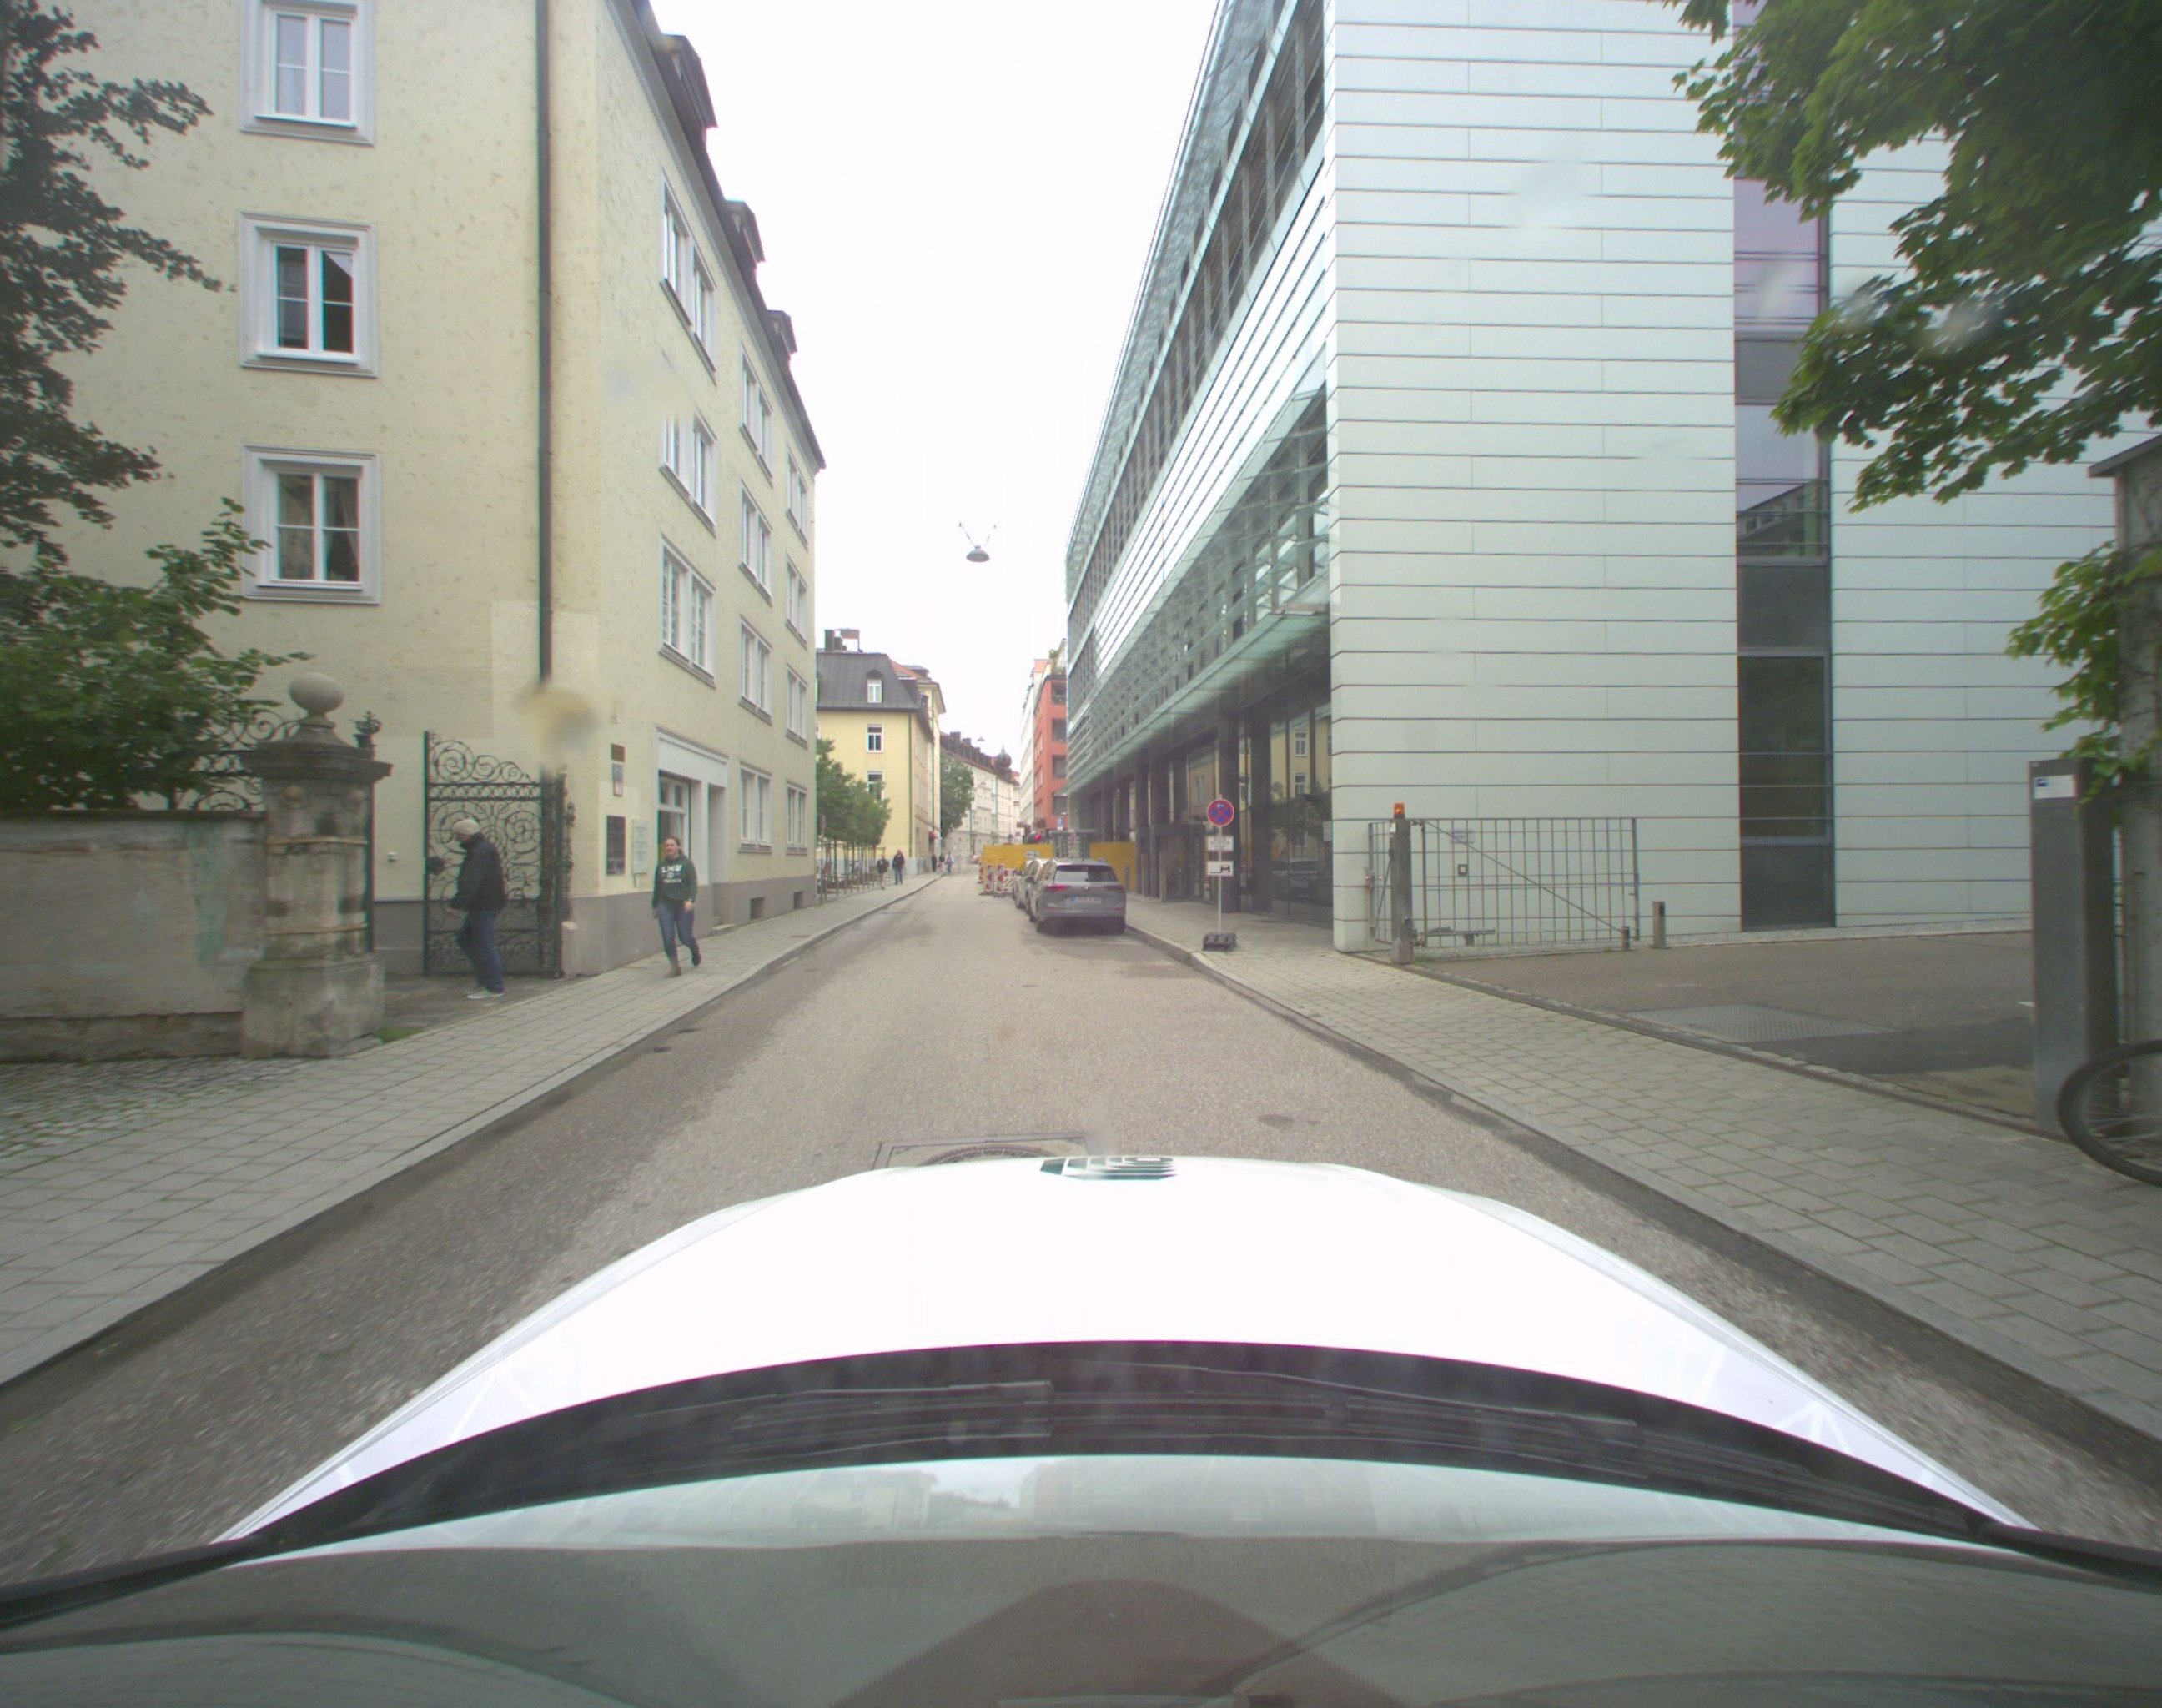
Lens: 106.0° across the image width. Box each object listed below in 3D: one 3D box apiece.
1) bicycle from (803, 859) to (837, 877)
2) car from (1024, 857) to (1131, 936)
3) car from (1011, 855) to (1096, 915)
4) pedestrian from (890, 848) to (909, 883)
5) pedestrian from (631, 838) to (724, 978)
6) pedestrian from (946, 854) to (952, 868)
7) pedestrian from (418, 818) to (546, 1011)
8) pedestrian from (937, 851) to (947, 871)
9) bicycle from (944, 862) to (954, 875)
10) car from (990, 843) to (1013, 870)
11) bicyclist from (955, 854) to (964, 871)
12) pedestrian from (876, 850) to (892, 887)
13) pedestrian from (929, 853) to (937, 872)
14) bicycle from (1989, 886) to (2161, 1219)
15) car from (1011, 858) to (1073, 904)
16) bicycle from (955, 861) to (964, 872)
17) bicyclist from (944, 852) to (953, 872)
[{"bbox_3d":[-17.459,0.923,54.503,2.037,1.198,0.570,0,0,-1],"label":"bicycle"},{"bbox_3d":[-0.206,0.785,17.170,1.707,1.432,4.317,0,0,-8],"label":"car"},{"bbox_3d":[-0.845,0.791,22.413,1.708,1.467,4.221,1,-1,-11],"label":"car"},{"bbox_3d":[-9.669,0.608,43.353,0.867,1.881,1.131,0,-1,-8],"label":"pedestrian"},{"bbox_3d":[-5.055,0.657,10.261,0.712,1.666,0.927,2,-1,-8],"label":"pedestrian"},{"bbox_3d":[-15.136,0.798,93.520,0.634,1.675,0.516,0,0,-8],"label":"pedestrian"},{"bbox_3d":[-6.089,0.574,8.349,0.959,1.827,0.899,0,-1,-31],"label":"pedestrian"},{"bbox_3d":[-12.023,0.632,70.503,0.839,1.700,0.801,0,-1,-8],"label":"pedestrian"},{"bbox_3d":[-10.527,1.142,64.917,0.661,1.039,1.999,-1,0,-8],"label":"bicycle"},{"bbox_3d":[-7.774,0.239,79.140,1.992,2.537,4.961,0,0,-8],"label":"car"},{"bbox_3d":[-10.340,0.716,69.330,0.707,1.371,0.811,-1,0,-8],"label":"bicyclist"},{"bbox_3d":[-9.011,0.661,37.248,0.647,1.676,0.721,0,-1,-9],"label":"pedestrian"},{"bbox_3d":[-12.851,0.725,70.827,0.670,1.648,0.759,0,-1,-8],"label":"pedestrian"},{"bbox_3d":[4.450,0.787,2.704,0.707,1.198,1.830,-1,3,-6],"label":"bicycle"},{"bbox_3d":[-1.392,0.866,27.532,1.706,1.414,4.497,1,-1,-8],"label":"car"},{"bbox_3d":[-10.336,1.085,69.363,0.707,0.905,1.804,-1,0,-8],"label":"bicycle"},{"bbox_3d":[-10.542,0.632,64.979,0.659,1.643,0.893,-1,0,-8],"label":"bicyclist"}]
